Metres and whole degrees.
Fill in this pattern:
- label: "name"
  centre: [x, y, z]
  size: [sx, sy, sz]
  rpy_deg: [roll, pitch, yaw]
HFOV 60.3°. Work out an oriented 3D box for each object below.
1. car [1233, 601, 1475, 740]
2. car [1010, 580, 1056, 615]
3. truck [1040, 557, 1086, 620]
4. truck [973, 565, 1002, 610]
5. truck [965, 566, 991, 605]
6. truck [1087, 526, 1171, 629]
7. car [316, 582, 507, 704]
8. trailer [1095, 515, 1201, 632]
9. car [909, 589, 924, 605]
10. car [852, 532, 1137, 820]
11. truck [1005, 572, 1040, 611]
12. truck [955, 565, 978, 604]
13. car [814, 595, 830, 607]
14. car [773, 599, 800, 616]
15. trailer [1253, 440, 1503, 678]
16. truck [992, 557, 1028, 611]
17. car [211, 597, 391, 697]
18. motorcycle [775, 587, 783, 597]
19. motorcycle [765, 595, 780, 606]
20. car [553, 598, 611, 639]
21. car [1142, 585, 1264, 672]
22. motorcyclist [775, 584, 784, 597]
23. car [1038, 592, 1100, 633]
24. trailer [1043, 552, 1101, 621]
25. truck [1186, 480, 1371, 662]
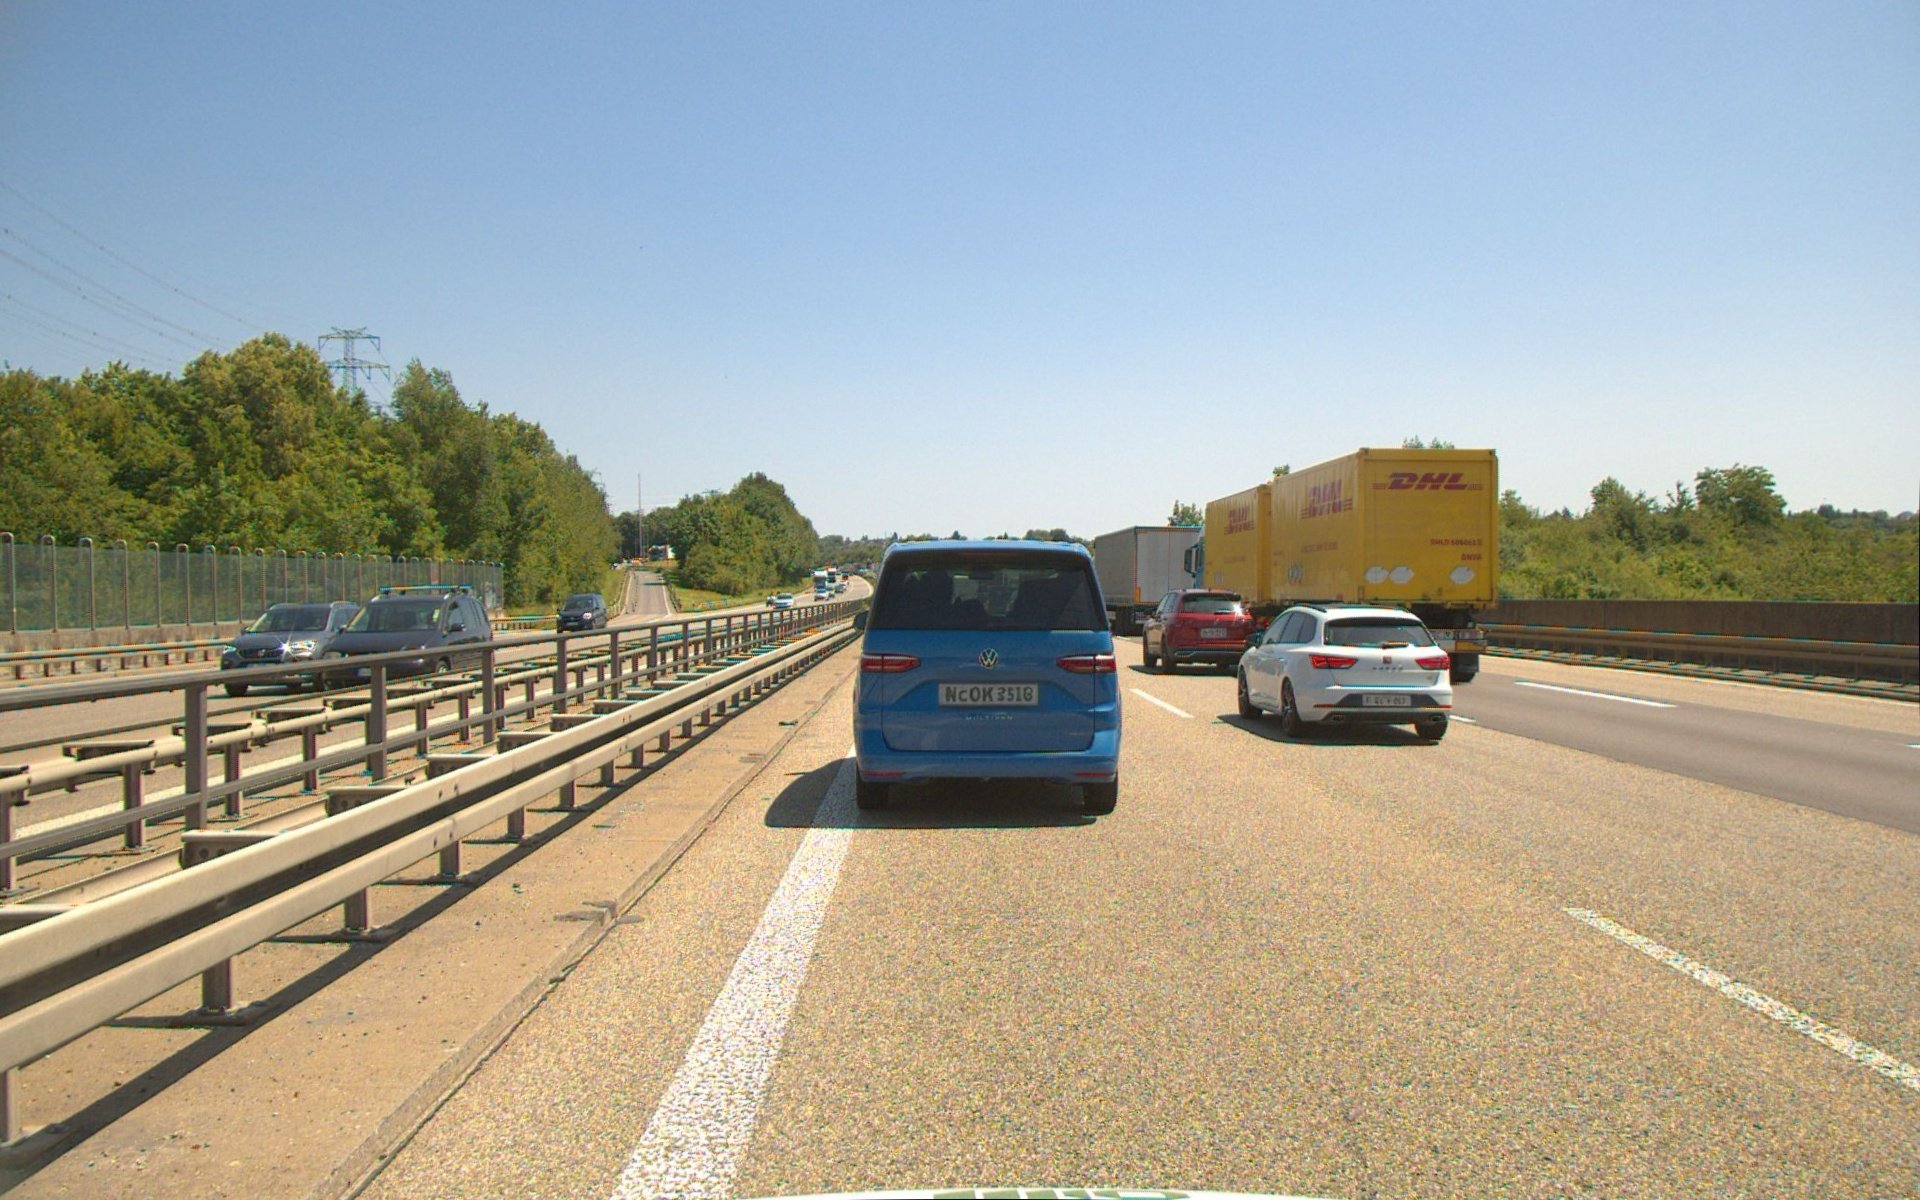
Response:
- label: "car"
  centre: [4.400, 0.731, 19.115]
  size: [1.745, 1.411, 4.187]
  rpy_deg: [0, 0, -1]
- label: "car"
  centre: [3.469, -0.122, 79.407]
  size: [1.682, 1.614, 3.817]
  rpy_deg: [-1, 0, -5]
- label: "truck"
  centre: [6.417, -0.671, 103.623]
  size: [2.320, 3.787, 6.031]
  rpy_deg: [1, -1, -1]
- label: "truck"
  centre: [3.235, -1.381, 197.398]
  size: [2.777, 5.128, 11.810]
  rpy_deg: [1, 0, -2]
- label: "truck"
  centre: [2.347, -1.962, 224.347]
  size: [2.777, 4.971, 13.214]
  rpy_deg: [-1, 0, -2]
- label: "truck"
  centre: [7.193, -0.882, 71.133]
  size: [2.712, 4.167, 6.982]
  rpy_deg: [1, -1, -1]
- label: "car"
  centre: [-8.668, 0.630, 26.512]
  size: [1.719, 1.751, 4.100]
  rpy_deg: [-1, 0, -1]
- label: "trailer"
  centre: [7.305, -0.927, 65.806]
  size: [2.699, 4.219, 11.309]
  rpy_deg: [1, 0, -1]
- label: "car"
  centre: [-5.676, -0.369, 217.721]
  size: [1.953, 2.049, 3.999]
  rpy_deg: [1, -1, -1]
- label: "car"
  centre: [0.200, 0.492, 12.756]
  size: [1.844, 1.869, 3.999]
  rpy_deg: [0, 0, -1]
- label: "truck"
  centre: [5.434, -0.712, 145.877]
  size: [2.308, 3.275, 9.736]
  rpy_deg: [1, 0, -2]
- label: "truck"
  centre: [0.900, -2.210, 243.965]
  size: [2.777, 5.467, 12.548]
  rpy_deg: [1, 0, -2]
- label: "car"
  centre: [-17.791, 0.141, 213.578]
  size: [1.680, 1.459, 4.174]
  rpy_deg: [-3, 0, -1]
- label: "car"
  centre: [-15.008, 0.630, 143.335]
  size: [1.872, 1.418, 4.164]
  rpy_deg: [-2, 0, -1]
- label: "trailer"
  centre: [8.083, -0.679, 33.312]
  size: [2.646, 4.094, 8.928]
  rpy_deg: [1, 0, -1]
- label: "truck"
  centre: [4.893, -1.462, 163.573]
  size: [2.777, 5.128, 11.140]
  rpy_deg: [1, 0, -2]
- label: "car"
  centre: [-12.214, 0.819, 30.928]
  size: [1.719, 1.574, 3.999]
  rpy_deg: [-3, 1, -1]
- label: "motorcycle"
  centre: [-21.695, -0.963, 198.520]
  size: [0.687, 1.089, 2.305]
  rpy_deg: [-1, 1, -1]
- label: "motorcycle"
  centre: [-20.022, 0.082, 176.750]
  size: [1.338, 1.118, 2.575]
  rpy_deg: [-3, 0, -1]
- label: "car"
  centre: [-17.536, 0.847, 76.904]
  size: [1.746, 1.816, 4.301]
  rpy_deg: [-1, 0, -1]
- label: "car"
  centre: [4.812, 0.530, 33.243]
  size: [1.813, 1.636, 3.999]
  rpy_deg: [0, 0, -1]
- label: "motorcyclist"
  centre: [-21.686, -1.163, 198.550]
  size: [0.880, 1.466, 1.082]
  rpy_deg: [-1, 1, -2]
- label: "car"
  centre: [3.891, 0.434, 59.462]
  size: [1.801, 1.438, 3.998]
  rpy_deg: [0, 0, -2]
- label: "trailer"
  centre: [6.547, -0.706, 97.954]
  size: [2.331, 3.809, 11.184]
  rpy_deg: [1, 0, -1]
- label: "truck"
  centre: [7.984, -0.622, 42.963]
  size: [2.667, 4.125, 10.334]
  rpy_deg: [1, 0, -1]
